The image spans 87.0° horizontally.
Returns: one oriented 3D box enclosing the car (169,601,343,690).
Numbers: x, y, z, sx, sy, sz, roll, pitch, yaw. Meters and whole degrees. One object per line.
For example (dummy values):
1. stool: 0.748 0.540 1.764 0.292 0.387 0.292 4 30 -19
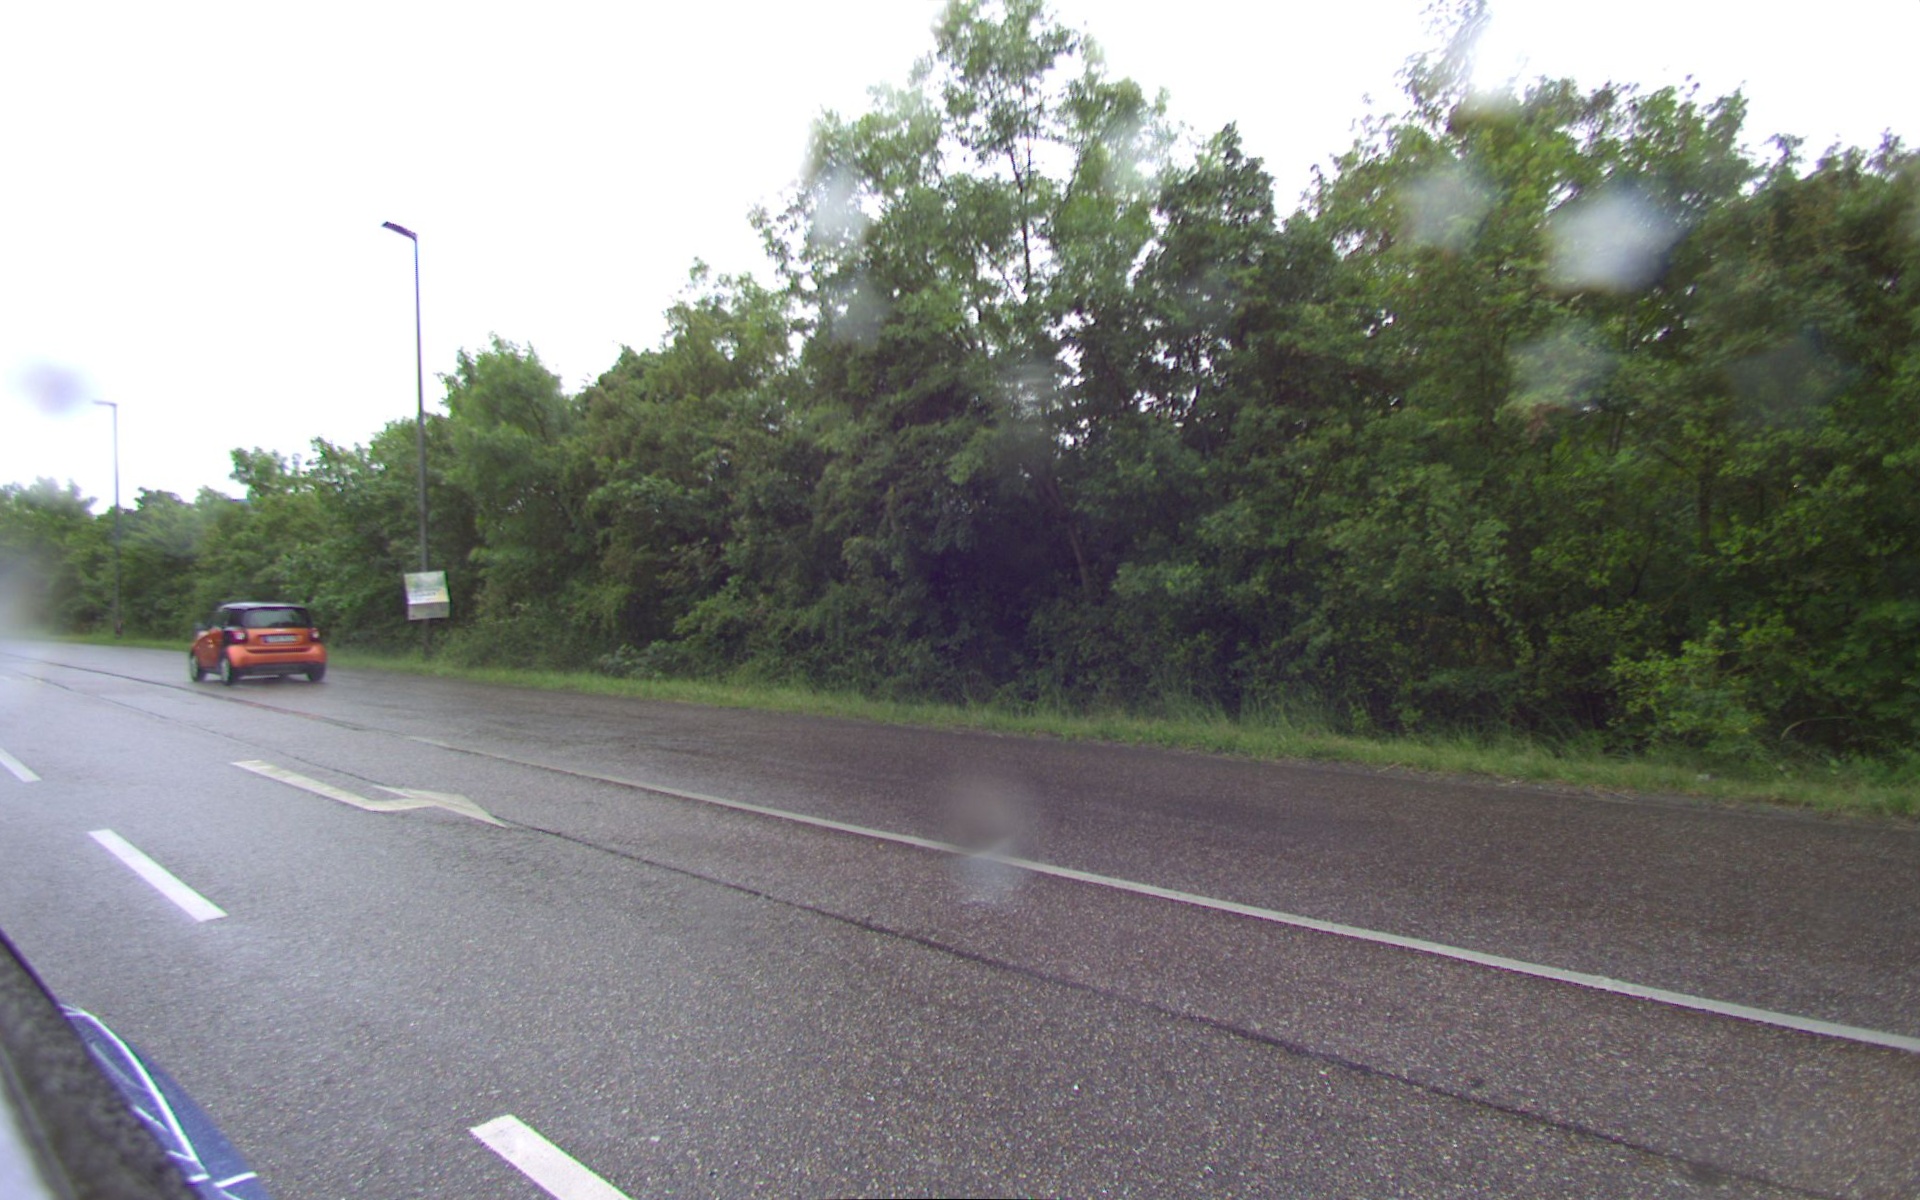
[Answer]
1. car: -14.168 0.825 20.308 3.998 1.597 1.973 0 0 41
